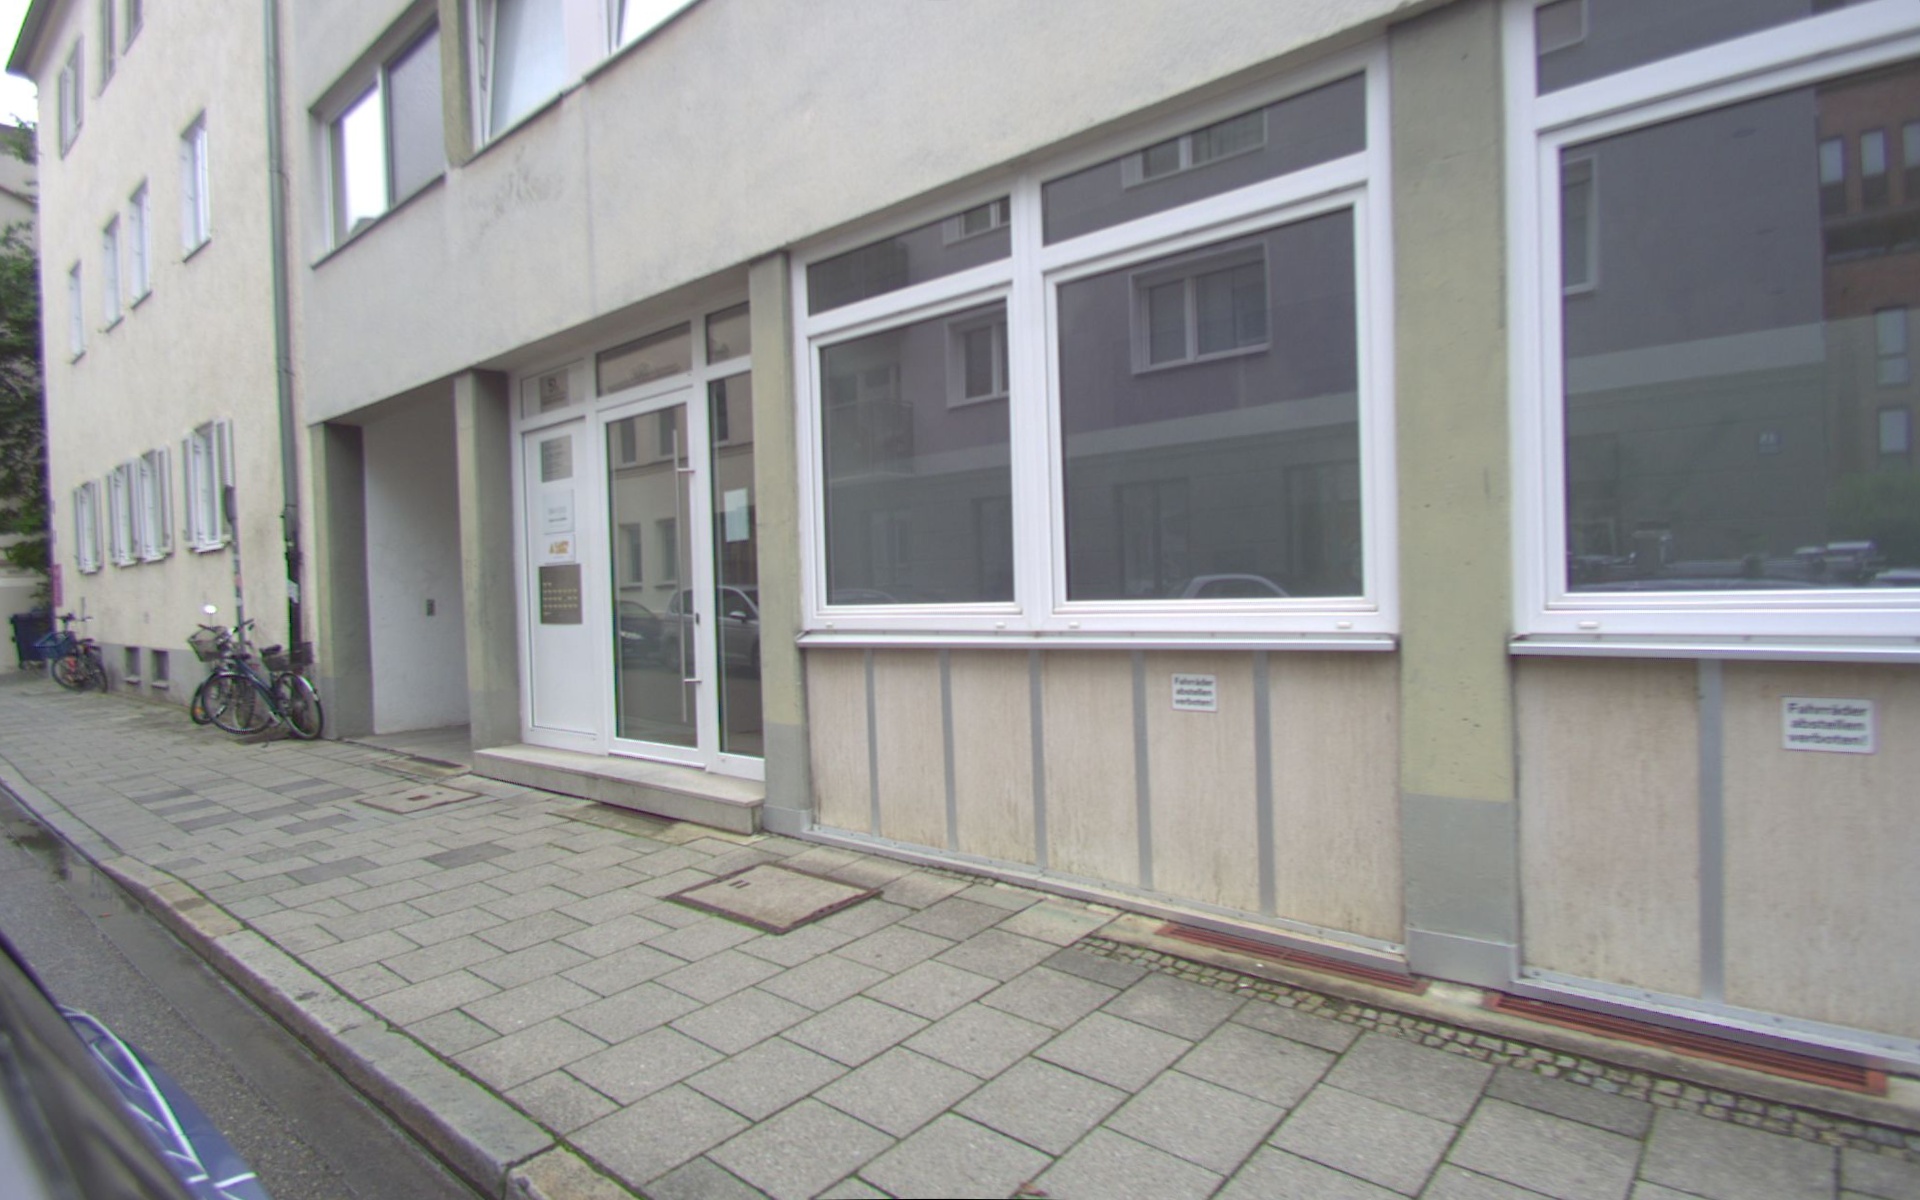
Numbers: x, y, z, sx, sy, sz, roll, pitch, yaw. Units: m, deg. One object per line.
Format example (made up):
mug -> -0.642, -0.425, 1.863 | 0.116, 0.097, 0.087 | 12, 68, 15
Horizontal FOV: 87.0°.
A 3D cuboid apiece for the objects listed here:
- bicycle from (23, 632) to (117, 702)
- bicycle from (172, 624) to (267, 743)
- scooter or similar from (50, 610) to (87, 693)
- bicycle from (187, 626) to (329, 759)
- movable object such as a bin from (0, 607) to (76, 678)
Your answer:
bicycle -> -14.347, 1.051, 16.292 | 1.819, 0.991, 0.697 | -1, 5, 37
bicycle -> -8.113, 0.872, 11.064 | 1.605, 1.168, 0.453 | -1, 3, 42
scooter or similar -> -15.510, 0.878, 17.602 | 1.238, 1.386, 0.314 | -1, 0, 41
bicycle -> -6.869, 0.856, 9.879 | 1.717, 1.168, 0.557 | -1, 1, 35
movable object such as a bin -> -21.172, 0.959, 23.227 | 1.161, 1.452, 1.250 | -9, 4, -43
